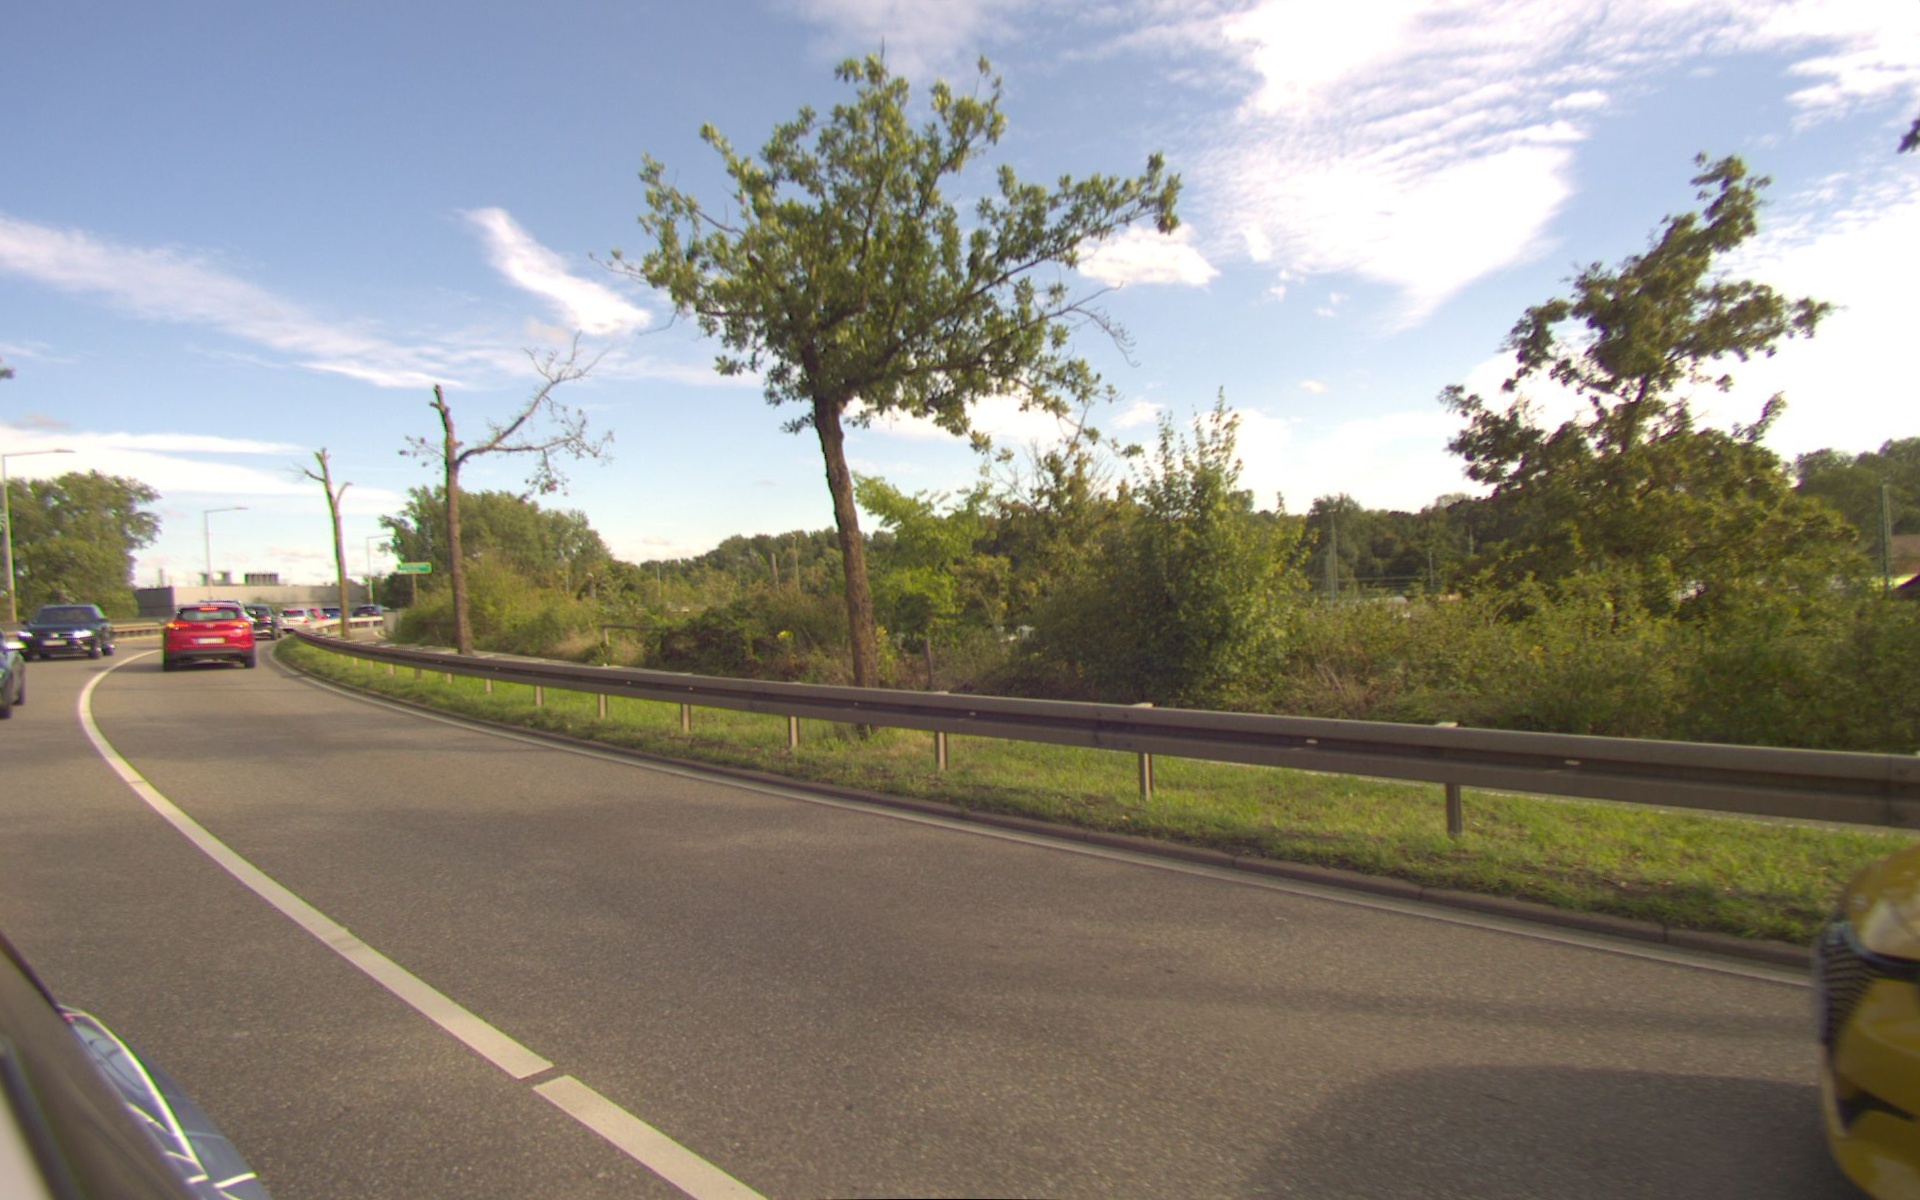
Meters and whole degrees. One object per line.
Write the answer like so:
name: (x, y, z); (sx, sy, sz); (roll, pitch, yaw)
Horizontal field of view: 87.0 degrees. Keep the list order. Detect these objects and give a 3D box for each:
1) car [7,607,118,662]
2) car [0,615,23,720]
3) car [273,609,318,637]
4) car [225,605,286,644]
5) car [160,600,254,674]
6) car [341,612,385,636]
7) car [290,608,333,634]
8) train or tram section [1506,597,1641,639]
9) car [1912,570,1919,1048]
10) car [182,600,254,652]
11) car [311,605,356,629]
car: (-27.299, 1.000, 30.934); (1.789, 1.518, 4.404); (-1, 0, -32)
car: (-14.951, 0.948, 14.735); (1.760, 1.414, 3.976); (-1, 0, -41)
car: (-36.814, 1.261, 56.163); (1.576, 1.475, 3.749); (-1, 0, -26)
car: (-32.438, 1.091, 46.684); (1.863, 1.661, 4.656); (-1, 0, -30)
car: (-19.294, 0.872, 25.932); (1.785, 1.687, 4.307); (-1, 0, -37)
car: (-45.437, 1.791, 77.097); (1.898, 1.661, 4.603); (-1, 0, -18)
car: (-40.117, 1.278, 62.644); (1.576, 1.475, 3.749); (-1, 0, -23)
train or tram section: (77.028, 2.203, 127.083); (16.478, 4.748, 3.103); (-1, 0, -10)
car: (3.827, 0.619, 1.129); (3.868, 1.436, 1.782); (-1, 0, 39)
car: (-28.694, 0.945, 39.268); (1.875, 1.824, 5.419); (-1, 0, -33)
car: (-42.062, 1.102, 68.046); (1.774, 1.531, 4.021); (-1, 0, -20)
